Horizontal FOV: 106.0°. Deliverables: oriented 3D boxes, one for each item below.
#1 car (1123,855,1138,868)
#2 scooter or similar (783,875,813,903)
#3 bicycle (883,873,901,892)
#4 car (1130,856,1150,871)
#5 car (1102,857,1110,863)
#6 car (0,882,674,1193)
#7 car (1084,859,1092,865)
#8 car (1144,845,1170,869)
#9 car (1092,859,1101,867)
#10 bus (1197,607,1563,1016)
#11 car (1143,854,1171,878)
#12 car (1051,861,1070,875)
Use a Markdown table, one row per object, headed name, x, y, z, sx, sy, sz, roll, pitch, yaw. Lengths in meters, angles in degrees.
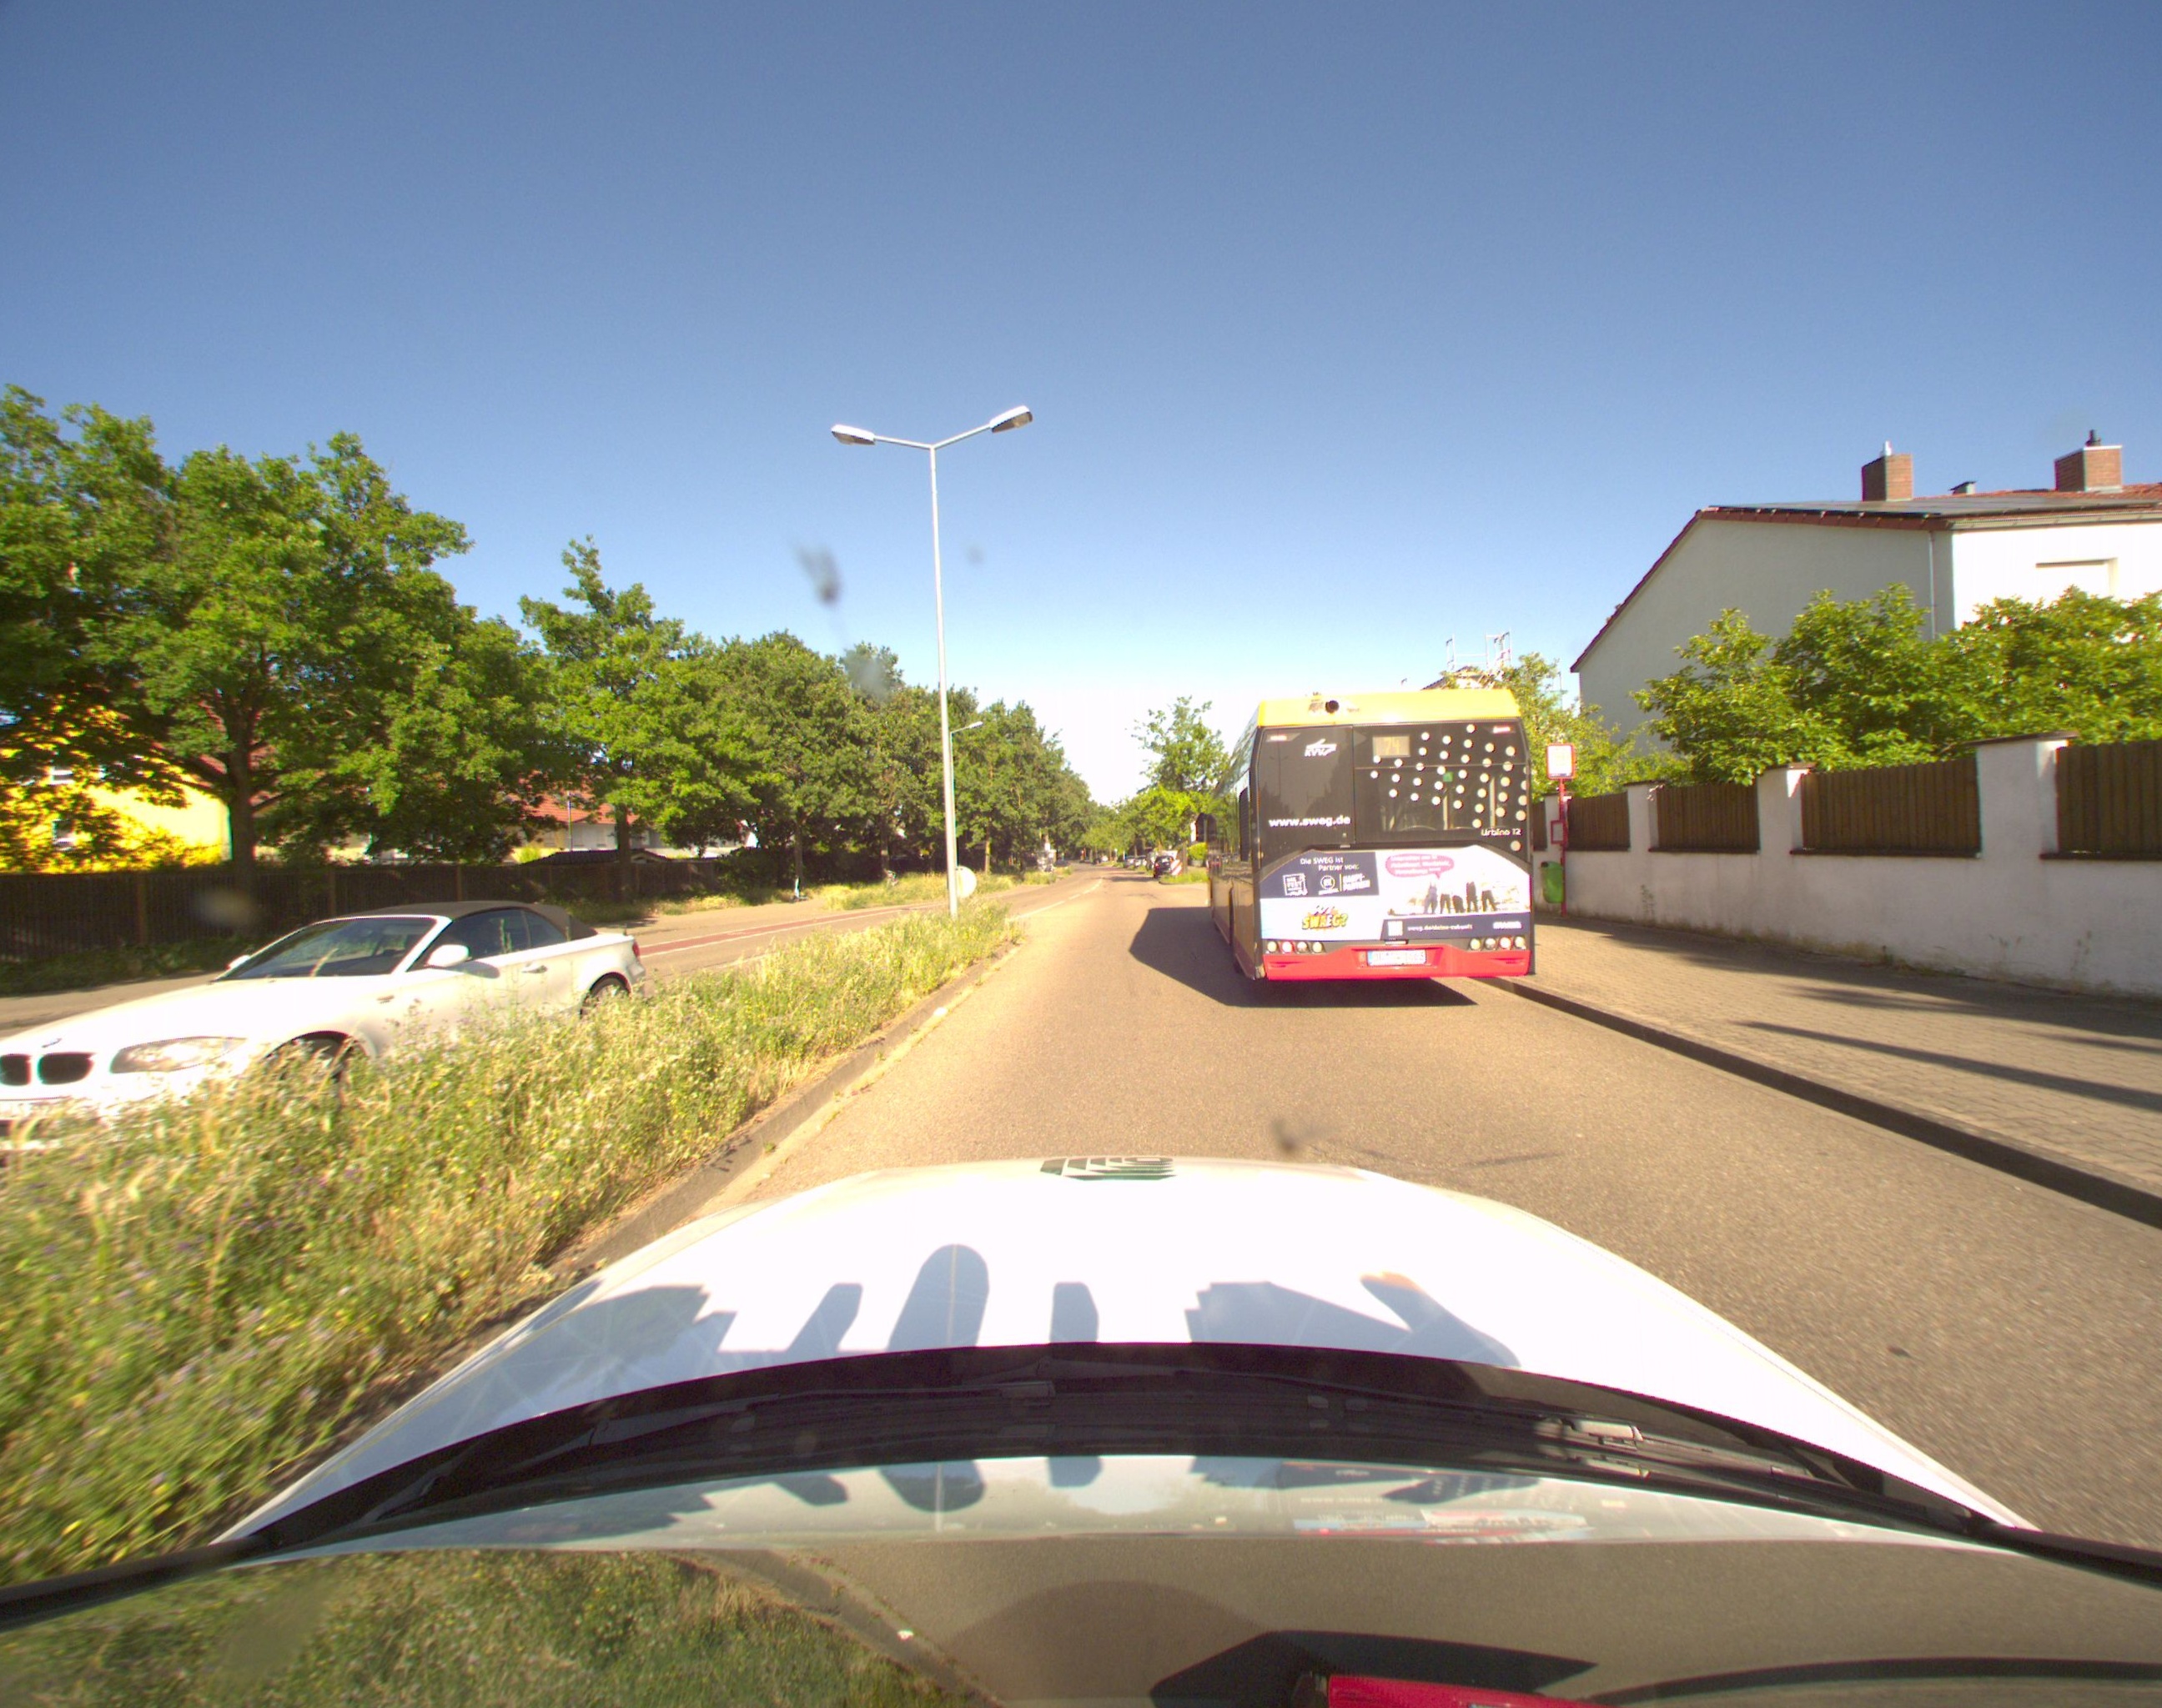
| name | x | y | z | sx | sy | sz | roll | pitch | yaw |
| --- | --- | --- | --- | --- | --- | --- | --- | --- | --- |
| car | 7.047 | 1.100 | 116.253 | 1.927 | 1.742 | 3.999 | -2 | -1 | 0 |
| scooter or similar | -13.270 | 1.623 | 38.215 | 0.534 | 1.218 | 1.420 | 0 | 1 | 19 |
| bicycle | -11.503 | 1.715 | 49.621 | 0.503 | 1.053 | 1.881 | -2 | -1 | 3 |
| car | 6.769 | 1.074 | 93.603 | 1.929 | 1.704 | 3.999 | -2 | -1 | 0 |
| car | 6.404 | 1.584 | 211.497 | 1.928 | 1.454 | 3.998 | -2 | -1 | -1 |
| car | -5.570 | 1.082 | 6.550 | 1.983 | 1.450 | 4.406 | -3 | 0 | 6 |
| car | 1.741 | 1.991 | 210.497 | 1.928 | 1.454 | 3.998 | -2 | -1 | -1 |
| car | 6.799 | 0.273 | 73.565 | 1.829 | 1.971 | 4.758 | -2 | -1 | 0 |
| car | 3.601 | 2.058 | 185.239 | 1.927 | 1.542 | 3.999 | -2 | -1 | 0 |
| bus | 3.470 | -0.266 | 13.343 | 2.742 | 3.458 | 12.422 | -3 | -1 | 7 |
| car | 5.384 | 0.830 | 58.107 | 1.666 | 1.578 | 3.753 | -4 | 0 | 2 |
| car | -2.233 | 1.493 | 89.027 | 1.930 | 1.479 | 3.997 | -2 | -1 | -2 |
